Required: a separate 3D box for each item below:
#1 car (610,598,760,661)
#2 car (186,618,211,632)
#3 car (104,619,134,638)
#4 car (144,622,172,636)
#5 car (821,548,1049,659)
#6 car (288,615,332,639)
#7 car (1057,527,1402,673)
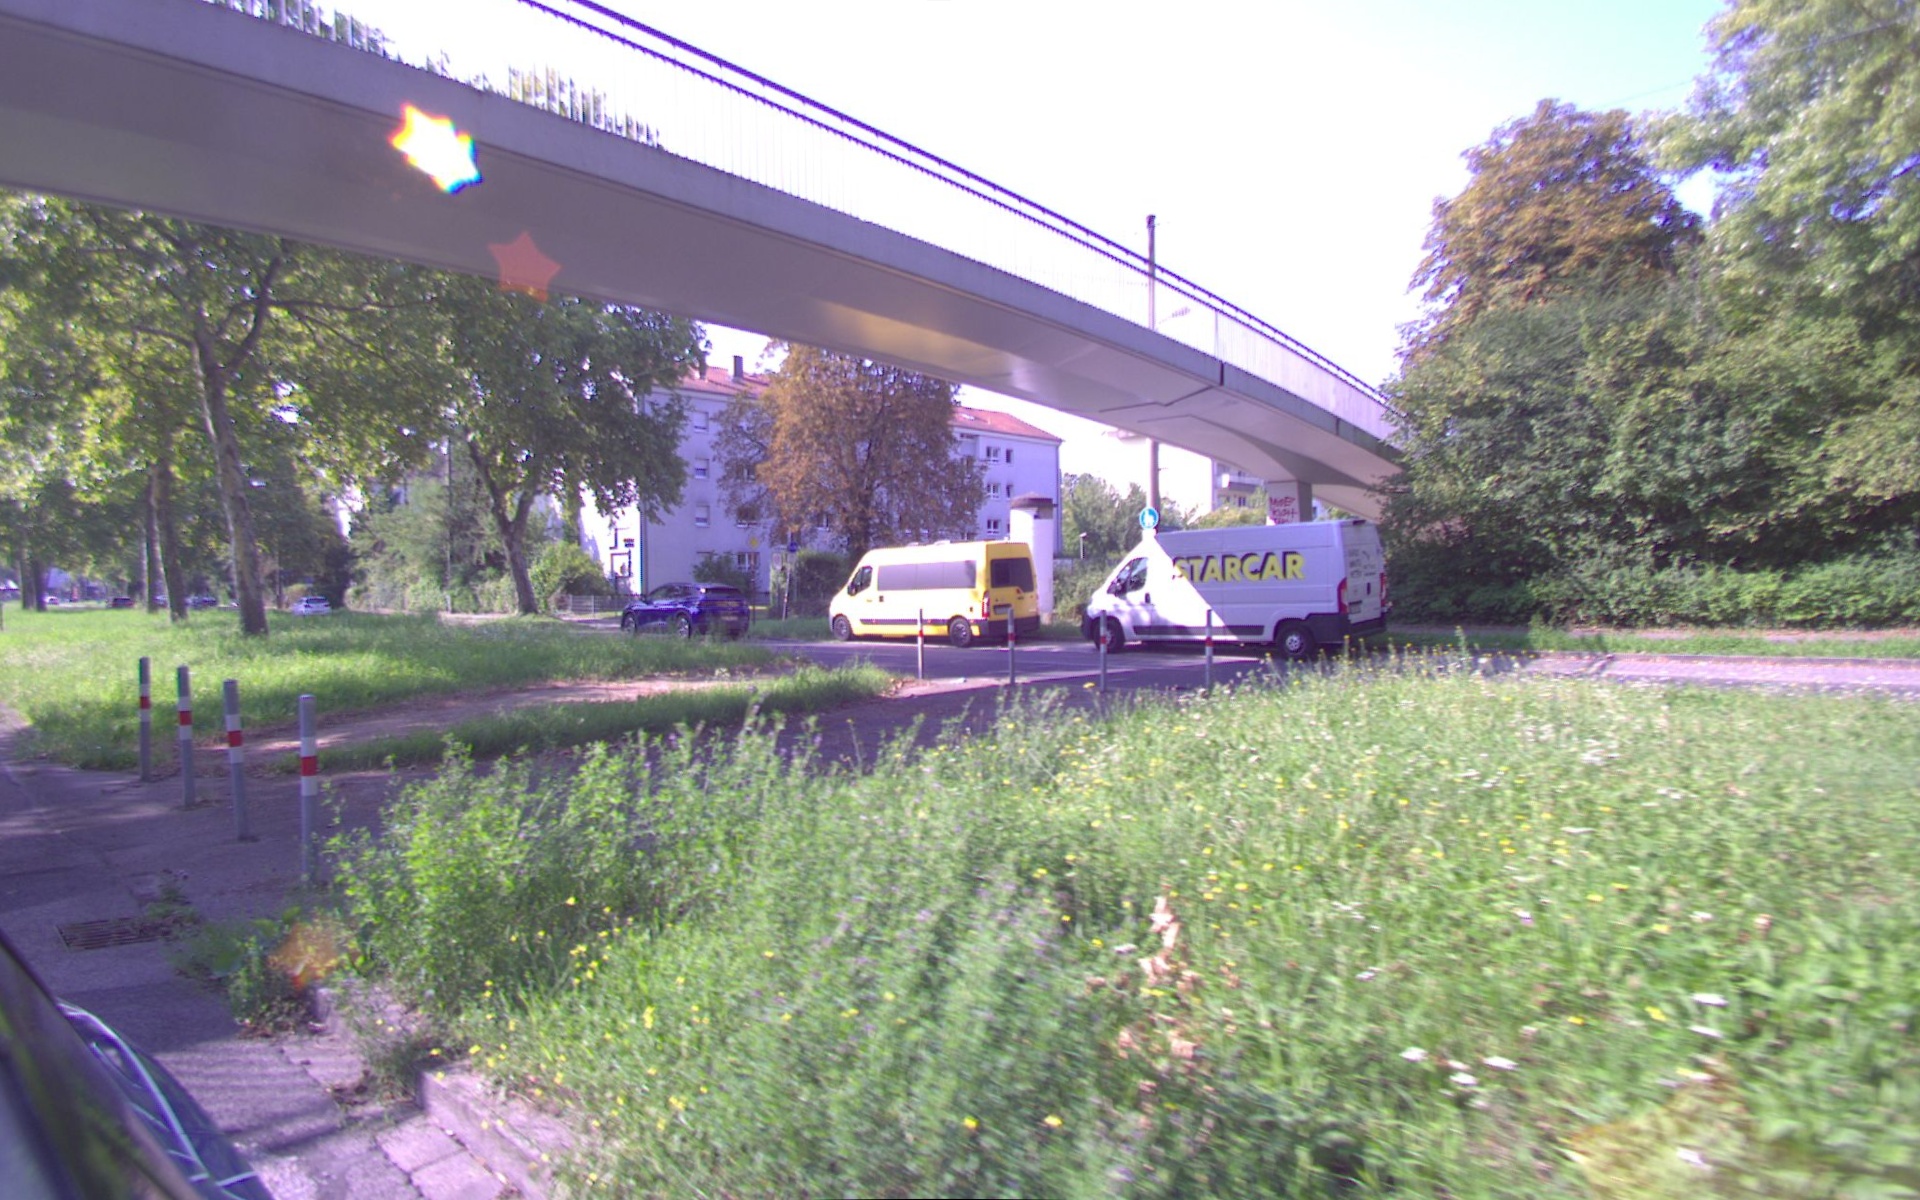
[{"bbox_3d":[-7.700,0.778,28.139,4.452,1.544,1.770,-1,1,40],"label":"car"},{"bbox_3d":[-77.793,2.530,103.367,1.590,1.301,3.526,-2,1,-43],"label":"car"},{"bbox_3d":[-81.322,2.715,97.817,4.859,1.628,1.755,-1,1,45],"label":"car"},{"bbox_3d":[-80.688,2.906,101.820,3.899,1.374,1.627,-2,1,43],"label":"car"},{"bbox_3d":[-0.789,0.067,25.719,6.063,2.498,2.183,-1,1,45],"label":"car"},{"bbox_3d":[-43.648,1.793,67.914,3.901,1.490,1.627,-1,1,45],"label":"car"},{"bbox_3d":[5.138,-0.028,20.086,6.264,2.447,2.185,-1,3,42],"label":"car"}]
